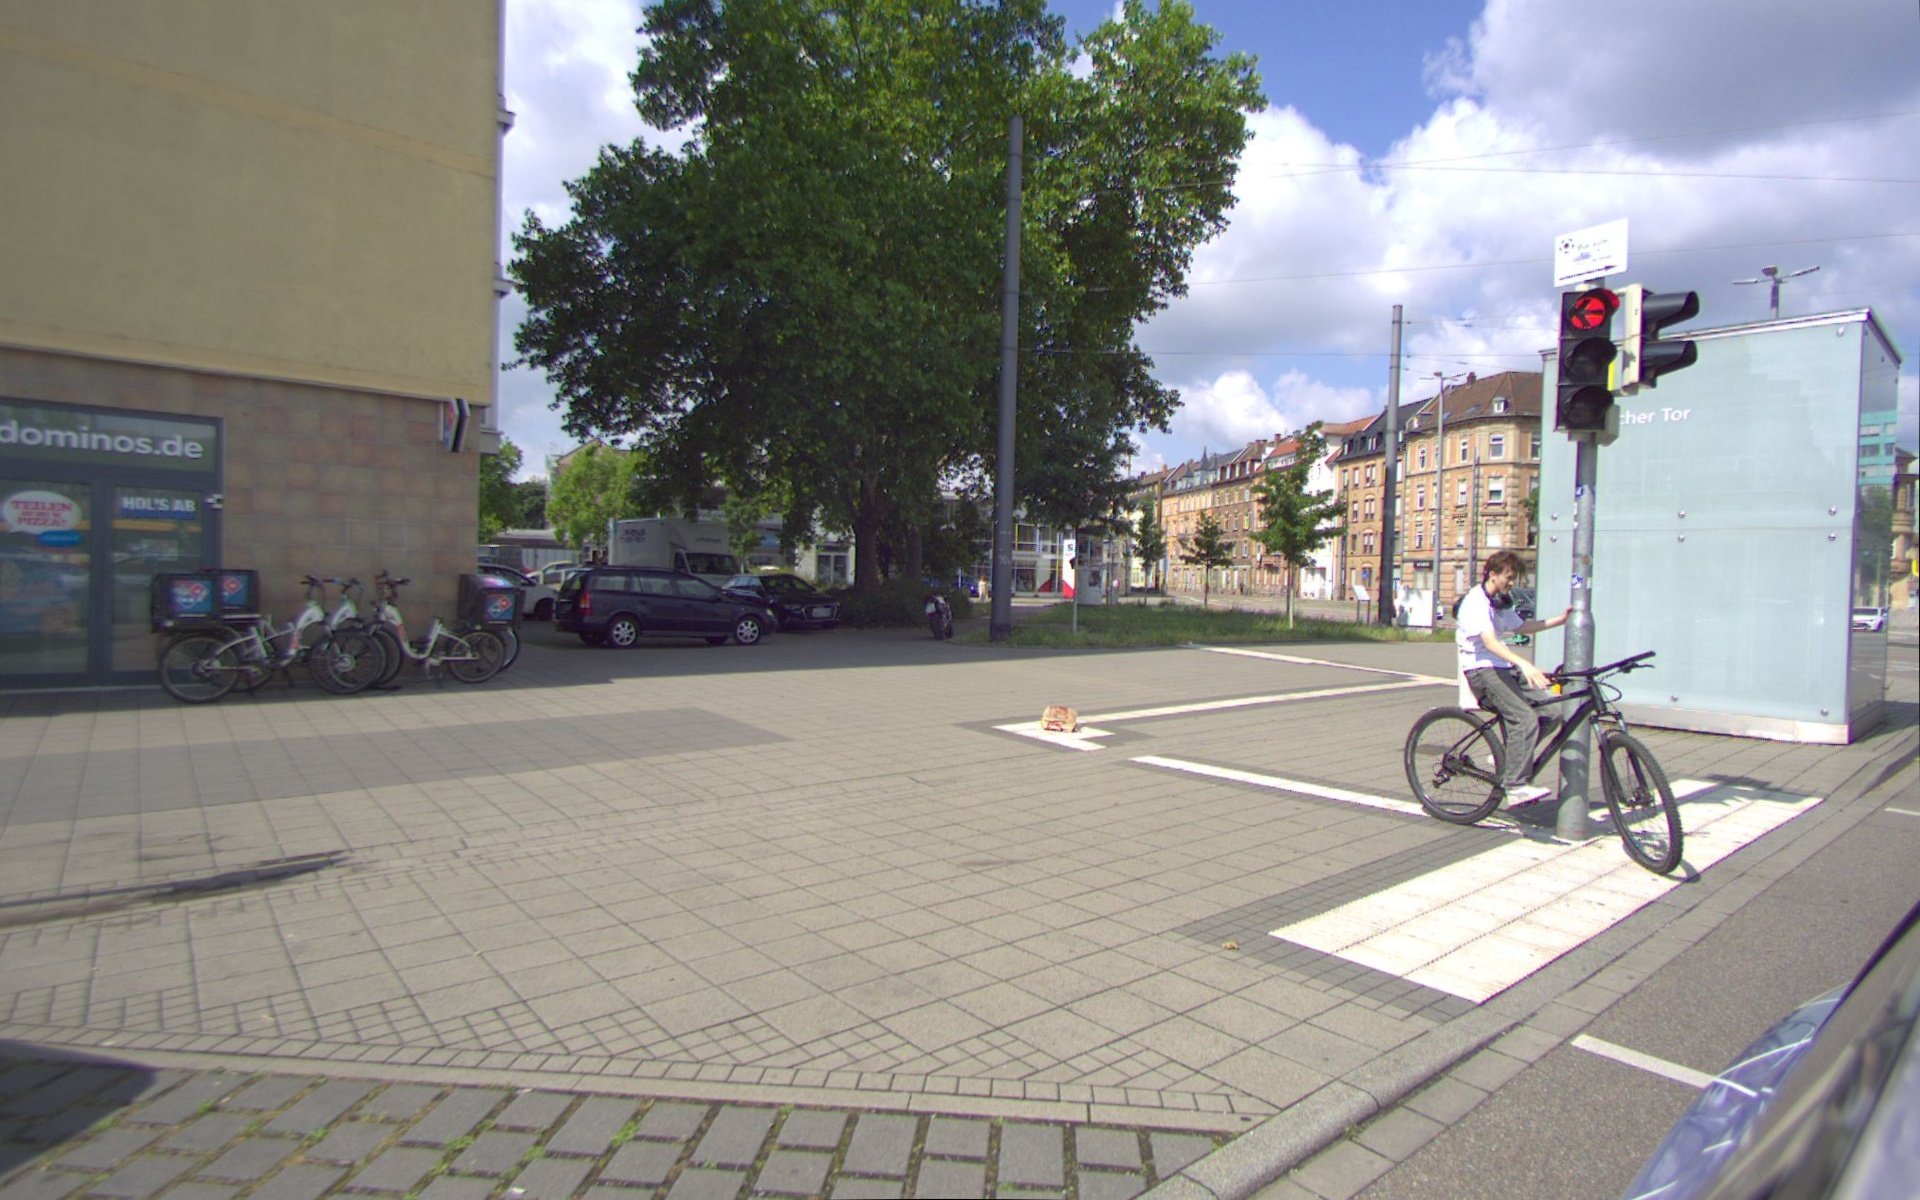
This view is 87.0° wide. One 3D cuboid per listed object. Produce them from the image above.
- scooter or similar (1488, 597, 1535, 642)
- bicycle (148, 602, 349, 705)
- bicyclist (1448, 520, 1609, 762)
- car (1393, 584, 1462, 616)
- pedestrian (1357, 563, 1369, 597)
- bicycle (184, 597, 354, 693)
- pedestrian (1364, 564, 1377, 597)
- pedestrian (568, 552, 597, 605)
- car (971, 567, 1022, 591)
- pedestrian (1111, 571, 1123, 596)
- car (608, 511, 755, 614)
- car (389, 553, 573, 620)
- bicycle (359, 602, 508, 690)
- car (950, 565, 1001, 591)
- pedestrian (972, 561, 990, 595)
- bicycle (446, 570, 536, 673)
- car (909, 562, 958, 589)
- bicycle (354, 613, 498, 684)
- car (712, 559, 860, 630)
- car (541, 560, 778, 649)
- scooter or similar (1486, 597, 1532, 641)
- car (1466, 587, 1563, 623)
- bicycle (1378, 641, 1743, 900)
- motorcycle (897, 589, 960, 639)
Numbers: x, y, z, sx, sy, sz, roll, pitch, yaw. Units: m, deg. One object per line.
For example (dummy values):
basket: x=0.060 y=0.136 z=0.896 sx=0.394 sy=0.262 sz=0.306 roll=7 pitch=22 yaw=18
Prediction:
scooter or similar: x=15.487 y=0.537 z=28.448 sx=1.049 sy=1.211 sz=0.380 roll=3 pitch=0 yaw=14
bicycle: x=-6.986 y=0.502 z=10.010 sx=0.292 sy=0.934 sz=1.588 roll=2 pitch=1 yaw=40
bicyclist: x=3.413 y=0.231 z=6.125 sx=0.387 sy=1.353 sz=0.785 roll=3 pitch=0 yaw=-10
car: x=23.964 y=0.004 z=51.995 sx=1.658 sy=1.488 sz=3.658 roll=3 pitch=0 yaw=-3
pedestrian: x=37.837 y=-1.850 z=95.080 sx=0.655 sy=3.160 sz=0.887 roll=3 pitch=0 yaw=1
bicycle: x=-7.172 y=0.443 z=10.558 sx=0.292 sy=0.934 sz=1.429 roll=2 pitch=2 yaw=45
pedestrian: x=38.568 y=-1.810 z=95.063 sx=0.713 sy=3.115 sz=0.887 roll=3 pitch=0 yaw=1
pedestrian: x=-13.292 y=-0.745 z=35.630 sx=0.622 sy=1.822 sz=0.740 roll=3 pitch=-1 yaw=-43
car: x=2.704 y=-1.598 z=76.367 sx=1.896 sy=1.705 sz=4.003 roll=3 pitch=0 yaw=-32
pedestrian: x=12.820 y=-1.358 z=82.762 sx=0.697 sy=2.038 sz=0.863 roll=2 pitch=1 yaw=27
car: x=-9.403 y=-1.240 z=33.578 sx=1.964 sy=3.080 sz=7.244 roll=1 pitch=1 yaw=-39
car: x=-12.620 y=-0.343 z=26.801 sx=4.023 sy=1.533 sz=1.807 roll=3 pitch=0 yaw=-41
bicycle: x=-5.826 y=0.487 z=11.252 sx=1.439 sy=0.894 sz=0.293 roll=-1 pitch=2 yaw=-43
car: x=1.107 y=-1.599 z=73.671 sx=1.959 sy=1.747 sz=4.005 roll=3 pitch=0 yaw=-29
pedestrian: x=1.316 y=-1.369 z=63.068 sx=0.793 sy=2.038 sz=0.810 roll=1 pitch=1 yaw=-26
bicycle: x=-6.185 y=0.248 z=13.277 sx=0.469 sy=1.217 sz=2.194 roll=3 pitch=0 yaw=-40
car: x=-1.966 y=-1.797 z=72.928 sx=1.959 sy=1.860 sz=4.006 roll=0 pitch=1 yaw=-28
bicycle: x=-6.106 y=0.537 z=11.626 sx=1.428 sy=0.747 sz=0.293 roll=0 pitch=2 yaw=-43
car: x=-4.820 y=-0.190 z=27.779 sx=3.987 sy=1.727 sz=1.969 roll=3 pitch=2 yaw=43
car: x=-5.765 y=0.064 z=19.649 sx=4.024 sy=1.533 sz=1.807 roll=0 pitch=2 yaw=-41
scooter or similar: x=15.727 y=0.547 z=29.016 sx=1.045 sy=1.211 sz=0.381 roll=3 pitch=0 yaw=4
car: x=24.327 y=0.197 z=44.581 sx=1.833 sy=1.393 sz=3.945 roll=2 pitch=1 yaw=-5
bicycle: x=3.308 y=0.862 z=5.877 sx=0.533 sy=1.120 sz=2.104 roll=3 pitch=0 yaw=-10
motorcycle: x=-0.686 y=0.292 z=22.909 sx=0.959 sy=1.043 sz=2.287 roll=0 pitch=1 yaw=11
